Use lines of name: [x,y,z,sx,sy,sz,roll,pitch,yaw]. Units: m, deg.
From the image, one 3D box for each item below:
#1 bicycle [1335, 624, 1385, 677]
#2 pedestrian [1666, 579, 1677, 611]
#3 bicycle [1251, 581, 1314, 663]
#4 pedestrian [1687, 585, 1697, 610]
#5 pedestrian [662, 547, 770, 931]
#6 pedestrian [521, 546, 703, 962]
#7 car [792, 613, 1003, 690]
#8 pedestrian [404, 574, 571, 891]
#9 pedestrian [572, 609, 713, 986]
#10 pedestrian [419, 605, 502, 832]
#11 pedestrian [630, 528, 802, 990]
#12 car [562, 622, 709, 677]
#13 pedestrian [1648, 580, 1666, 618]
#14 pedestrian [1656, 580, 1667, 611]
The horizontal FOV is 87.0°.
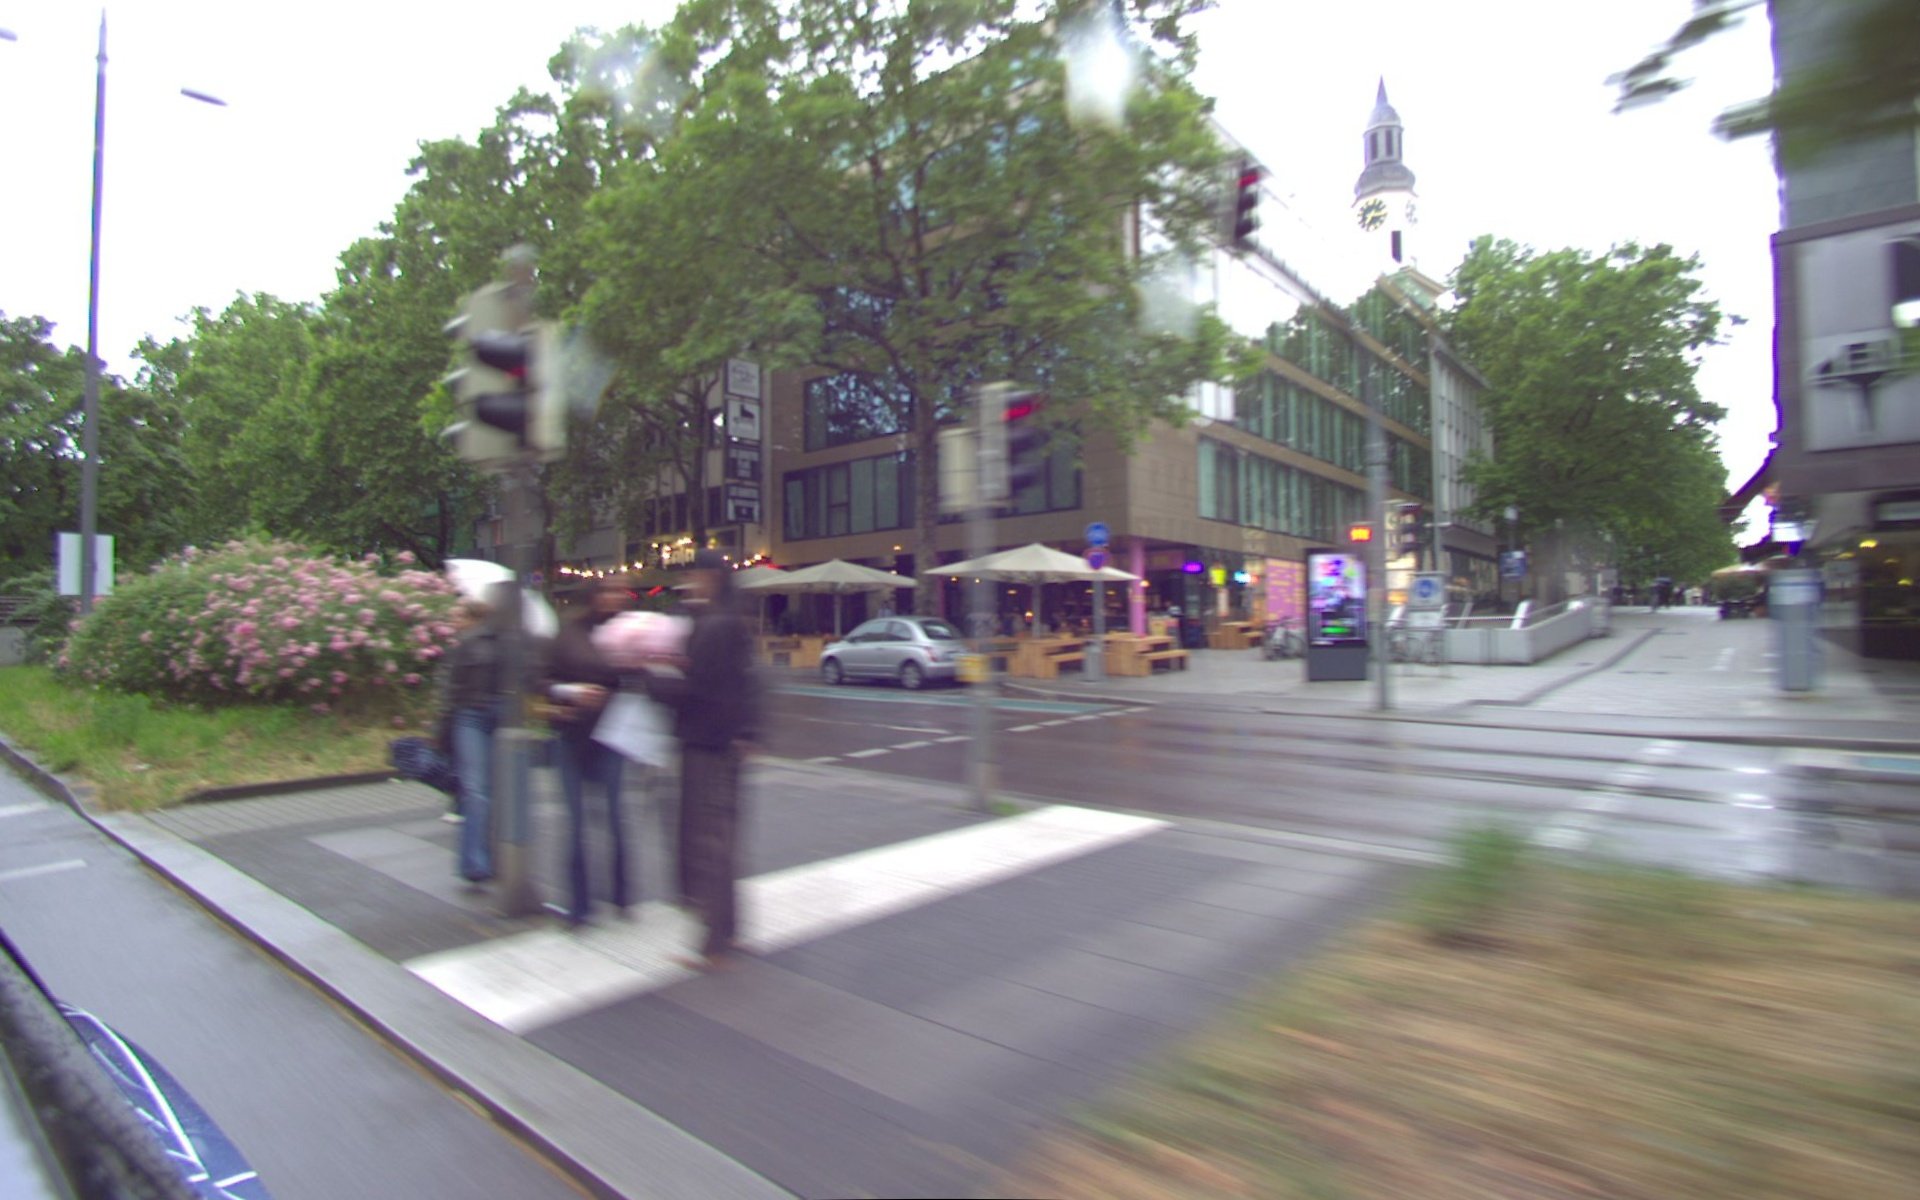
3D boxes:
bicycle: [10.107,1.249,25.505,0.688,1.256,2.366,-2,-2,33]
pedestrian: [43.973,-0.295,62.558,0.478,1.945,0.599,-1,0,41]
bicycle: [8.389,0.548,26.270,0.689,2.029,2.362,-2,-1,39]
pedestrian: [59.175,-0.208,81.804,0.583,2.029,0.654,-1,0,42]
pedestrian: [-1.160,0.632,4.839,0.324,1.734,0.396,-1,-2,27]
pedestrian: [-1.502,0.619,4.417,0.443,1.655,0.624,-1,-2,27]
car: [-1.442,1.105,22.237,4.514,1.521,1.973,-2,-2,40]
pedestrian: [-2.636,0.699,5.687,0.600,1.654,0.609,-1,-1,19]
pedestrian: [-1.314,0.774,4.217,0.383,1.461,0.421,-1,-2,23]
pedestrian: [-3.489,0.791,7.057,0.475,1.500,0.546,0,-2,-30]
pedestrian: [-0.979,0.595,4.112,0.402,1.711,0.569,-1,-2,29]
car: [-9.403,1.382,29.114,4.538,1.380,1.973,-2,0,42]
pedestrian: [37.289,-0.057,54.136,0.664,2.029,0.746,-1,0,43]
pedestrian: [43.564,-0.290,62.852,0.478,1.945,0.599,-1,0,41]
